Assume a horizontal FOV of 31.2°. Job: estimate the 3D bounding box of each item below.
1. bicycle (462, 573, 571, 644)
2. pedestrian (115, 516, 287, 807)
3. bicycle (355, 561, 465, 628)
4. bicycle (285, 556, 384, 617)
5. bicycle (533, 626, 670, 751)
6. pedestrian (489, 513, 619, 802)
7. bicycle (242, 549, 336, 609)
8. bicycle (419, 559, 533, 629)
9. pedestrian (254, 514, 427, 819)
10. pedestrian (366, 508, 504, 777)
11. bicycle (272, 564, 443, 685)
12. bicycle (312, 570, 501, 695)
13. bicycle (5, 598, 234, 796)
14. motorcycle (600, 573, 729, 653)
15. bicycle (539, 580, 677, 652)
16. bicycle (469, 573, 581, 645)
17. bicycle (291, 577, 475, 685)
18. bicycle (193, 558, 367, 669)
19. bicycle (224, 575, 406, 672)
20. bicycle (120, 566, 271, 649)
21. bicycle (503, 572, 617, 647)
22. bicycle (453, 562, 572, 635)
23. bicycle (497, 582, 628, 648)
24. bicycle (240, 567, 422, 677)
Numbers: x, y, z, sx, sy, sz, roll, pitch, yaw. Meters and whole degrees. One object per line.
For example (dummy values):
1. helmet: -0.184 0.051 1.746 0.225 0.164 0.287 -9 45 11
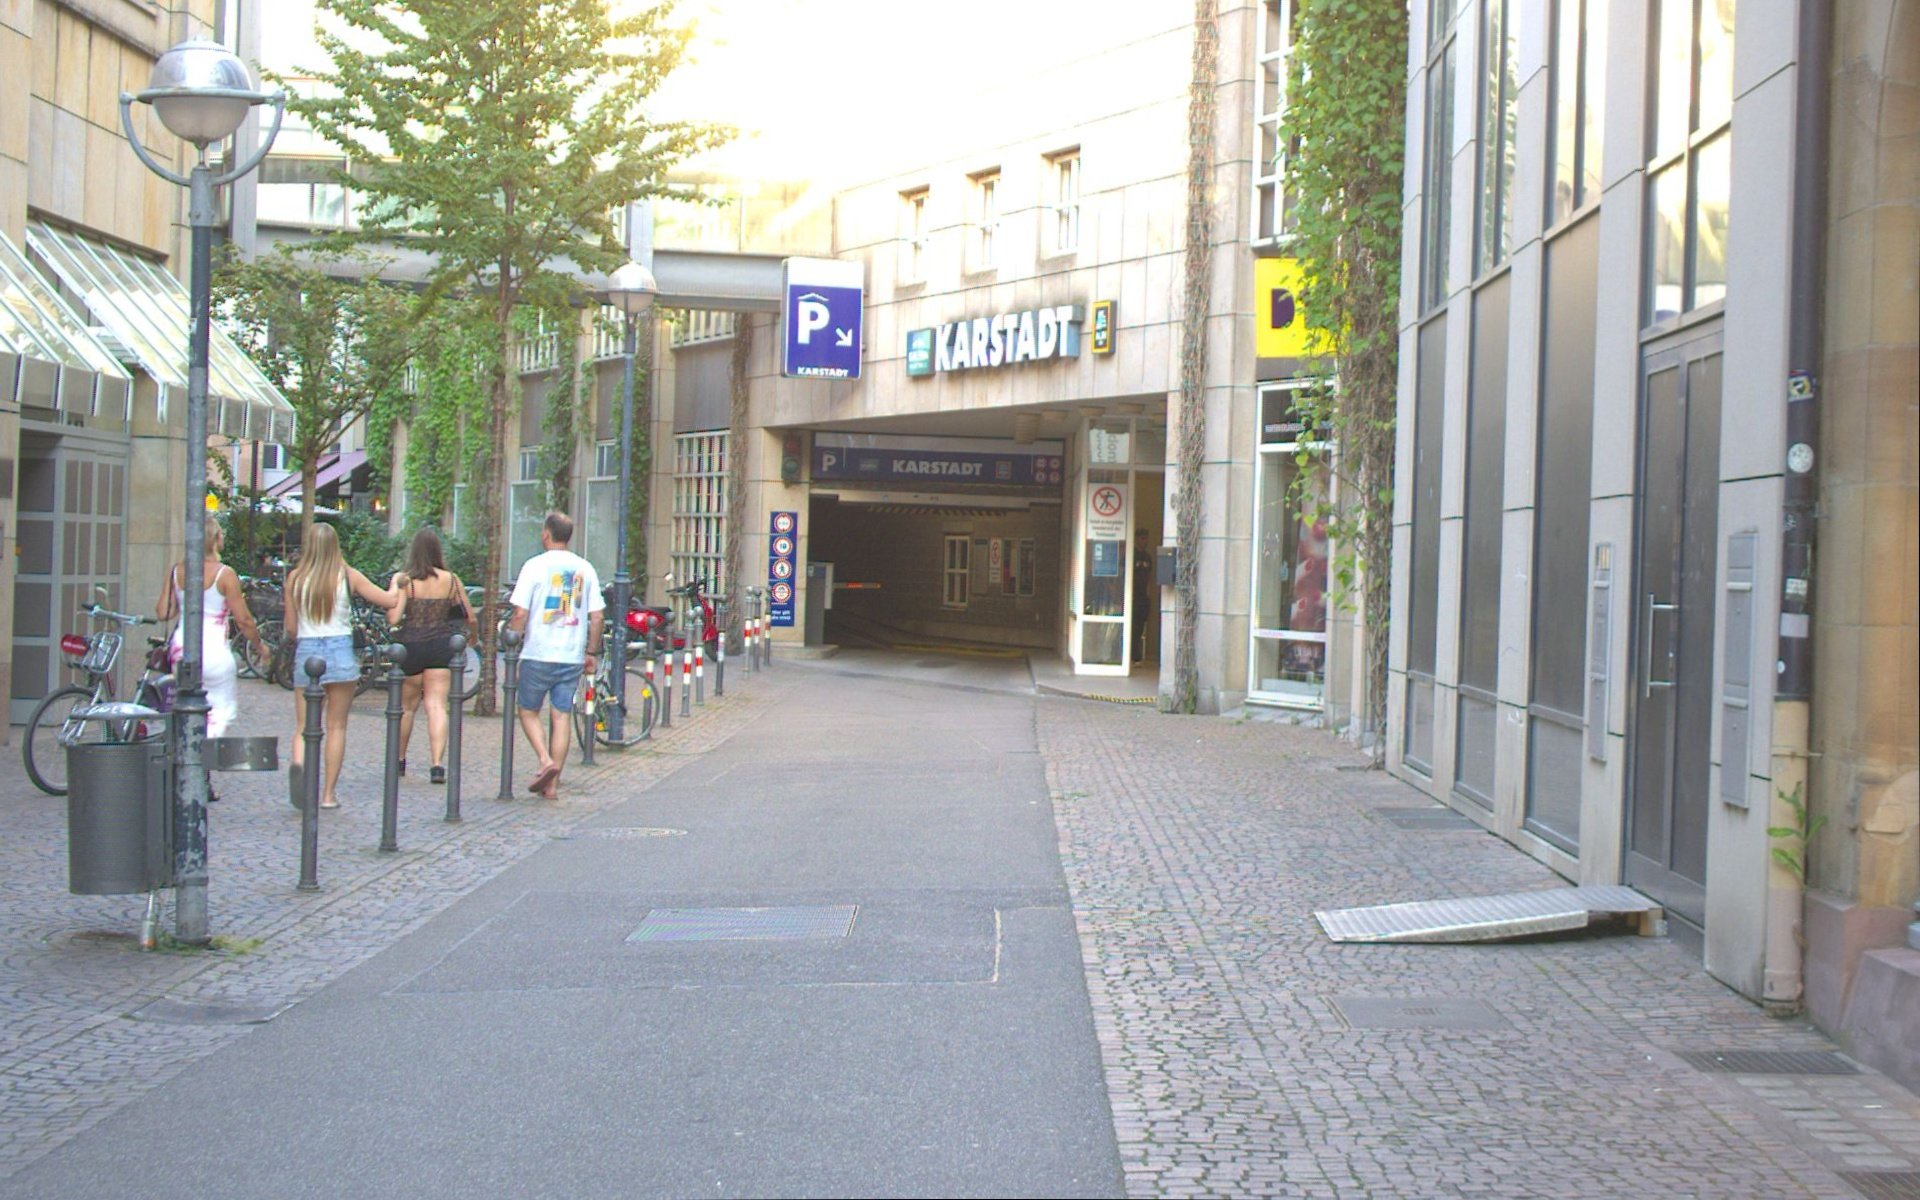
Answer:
1. bicycle: -6.741 0.131 52.300 1.539 1.045 0.575 1 1 -20
2. pedestrian: -4.474 0.350 20.317 0.675 1.659 0.860 2 1 10
3. bicycle: -9.444 -0.093 59.061 1.773 1.110 0.543 1 1 -20
4. bicycle: -11.801 -0.262 64.857 1.773 1.110 0.543 1 1 -17
5. bicycle: -2.891 0.701 27.860 0.493 0.935 1.658 3 1 15
6. pedestrian: -2.635 0.360 22.231 0.742 1.816 0.878 1 1 -10
7. bicycle: -13.675 -0.424 70.067 1.773 1.186 0.586 1 1 -20
8. bicycle: -8.001 -0.102 56.790 1.773 1.110 0.543 1 1 -20
9. pedestrian: -3.625 0.373 20.186 0.806 1.723 0.949 2 1 -1
10. pedestrian: -3.585 0.278 23.444 0.785 1.789 0.972 1 1 -16
11. bicycle: -6.238 0.255 35.612 1.653 1.226 0.534 1 1 -22
12. bicycle: -5.525 0.327 34.327 1.766 1.226 0.534 1 1 -22
13. bicycle: -5.126 0.569 21.065 0.522 1.134 1.763 1 1 17
14. motorcycle: -3.995 0.181 46.472 1.662 1.047 0.464 1 1 -20
15. bicycle: -4.919 0.226 48.088 1.847 0.979 0.464 1 1 -20
16. bicycle: -6.436 0.133 50.900 1.539 1.045 0.575 1 1 -20
17. bicycle: -6.123 0.329 36.503 1.836 1.118 0.534 1 1 -22
18. bicycle: -7.645 0.157 38.674 1.833 1.221 0.534 1 1 -22
19. bicycle: -7.129 0.262 37.997 1.893 1.048 0.534 1 1 -22
20. bicycle: -9.837 0.102 44.238 1.824 1.039 0.534 1 1 -22
21. bicycle: -5.805 0.137 49.917 1.539 1.045 0.575 1 1 -20
22. bicycle: -7.097 -0.025 54.549 1.773 1.110 0.543 1 1 -20
23. bicycle: -5.662 0.215 48.966 1.773 0.901 0.464 1 1 -20
24. bicycle: -6.850 0.243 37.464 1.872 1.173 0.534 1 1 -22
